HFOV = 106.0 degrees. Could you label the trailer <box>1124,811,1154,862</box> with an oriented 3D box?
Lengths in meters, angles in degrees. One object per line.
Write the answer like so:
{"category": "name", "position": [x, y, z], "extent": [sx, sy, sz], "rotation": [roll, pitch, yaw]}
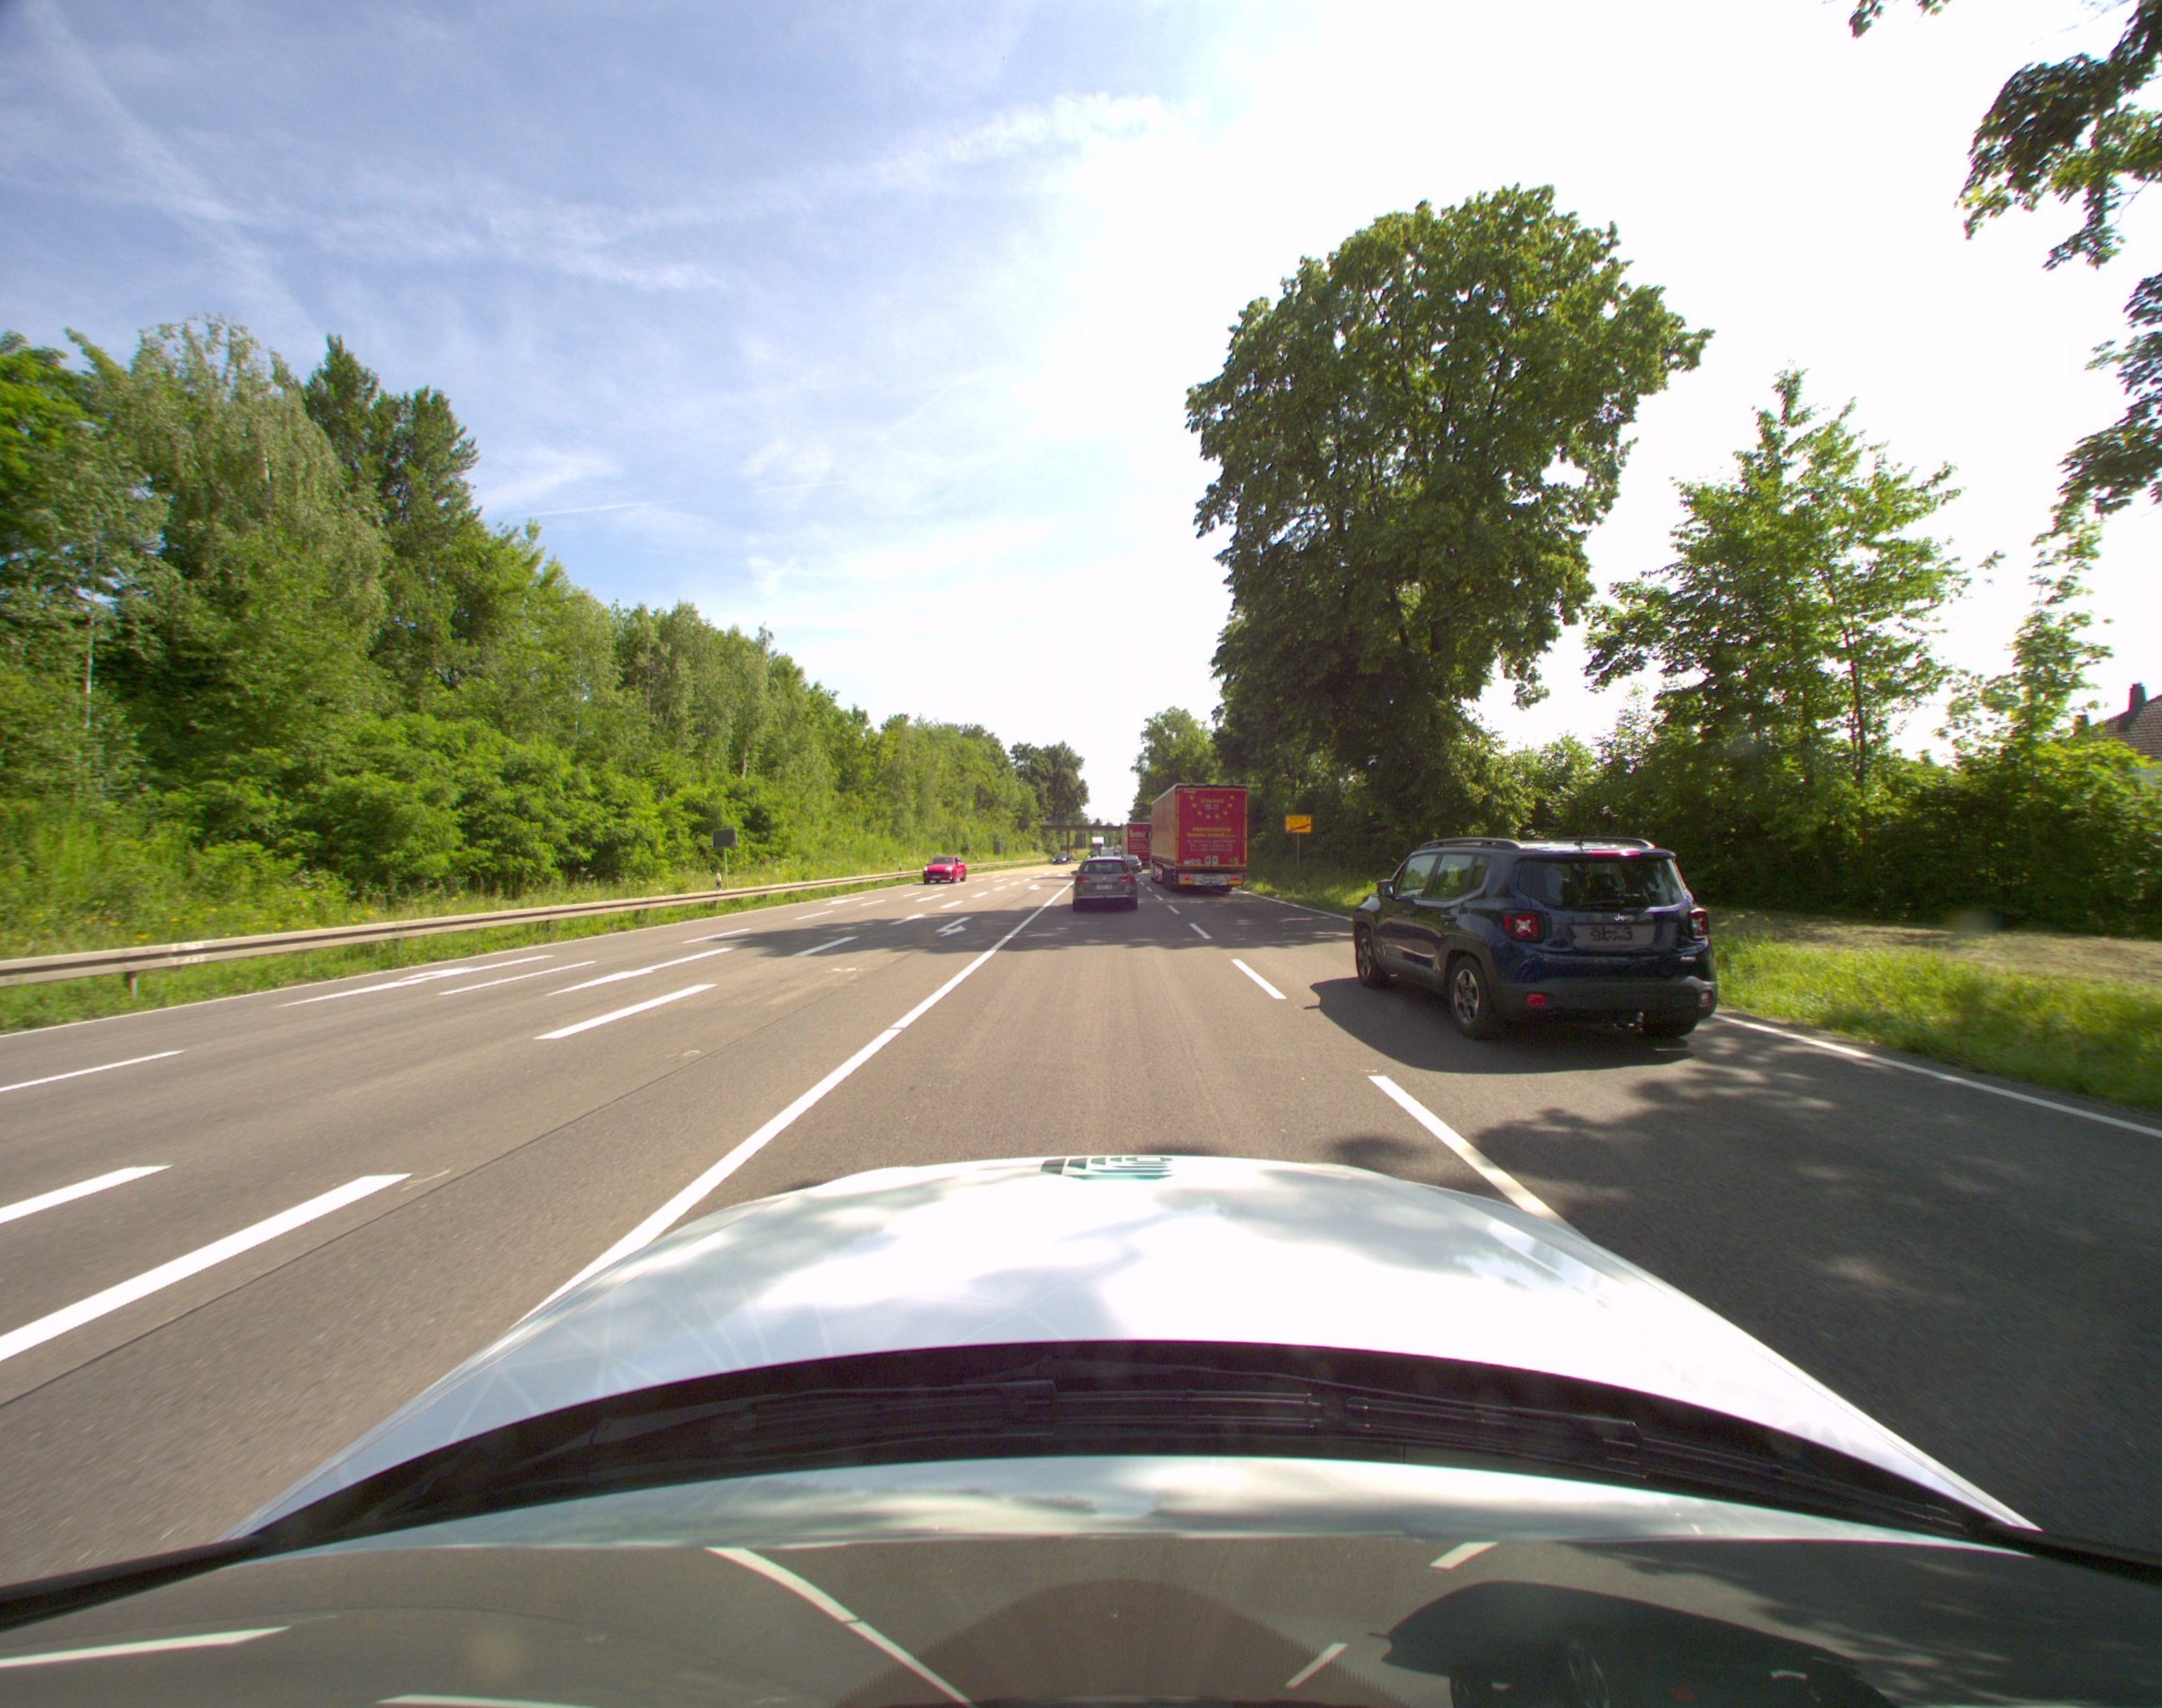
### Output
{"category": "trailer", "position": [5.300, -1.420, 75.136], "extent": [2.385, 4.243, 13.090], "rotation": [-2, -1, 4]}

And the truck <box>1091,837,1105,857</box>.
{"category": "truck", "position": [3.509, -1.328, 166.674], "extent": [2.764, 3.931, 9.467], "rotation": [-2, -1, 1]}

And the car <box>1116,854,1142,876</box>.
{"category": "car", "position": [3.618, 0.818, 61.325], "extent": [1.764, 1.513, 4.001], "rotation": [-2, -1, 1]}

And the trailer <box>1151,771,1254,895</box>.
{"category": "trailer", "position": [4.821, -0.687, 35.244], "extent": [2.829, 4.365, 13.170], "rotation": [0, 0, 1]}

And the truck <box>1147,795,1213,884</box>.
{"category": "truck", "position": [5.007, -0.663, 42.126], "extent": [2.860, 4.281, 5.840], "rotation": [0, -1, 1]}

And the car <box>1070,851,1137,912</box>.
{"category": "car", "position": [0.642, 0.735, 23.235], "extent": [1.685, 1.513, 4.001], "rotation": [-2, -1, 1]}

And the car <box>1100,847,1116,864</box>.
{"category": "car", "position": [3.079, 0.190, 93.360], "extent": [1.764, 1.936, 3.978], "rotation": [-2, -1, 1]}

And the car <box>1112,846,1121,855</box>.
{"category": "car", "position": [7.727, -0.747, 177.704], "extent": [1.986, 2.014, 4.001], "rotation": [-2, -1, 1]}

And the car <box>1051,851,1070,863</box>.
{"category": "car", "position": [-2.501, 0.400, 101.956], "extent": [1.955, 1.415, 4.004], "rotation": [-2, -1, 4]}

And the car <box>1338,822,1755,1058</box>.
{"category": "car", "position": [4.041, 0.644, 7.963], "extent": [1.764, 1.654, 4.000], "rotation": [-2, -1, 0]}

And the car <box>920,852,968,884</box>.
{"category": "car", "position": [-8.517, 0.853, 51.071], "extent": [1.965, 1.796, 4.810], "rotation": [-2, -1, 2]}

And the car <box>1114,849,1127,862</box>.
{"category": "car", "position": [6.367, 0.299, 132.623], "extent": [1.986, 2.014, 4.001], "rotation": [-2, -1, 1]}
